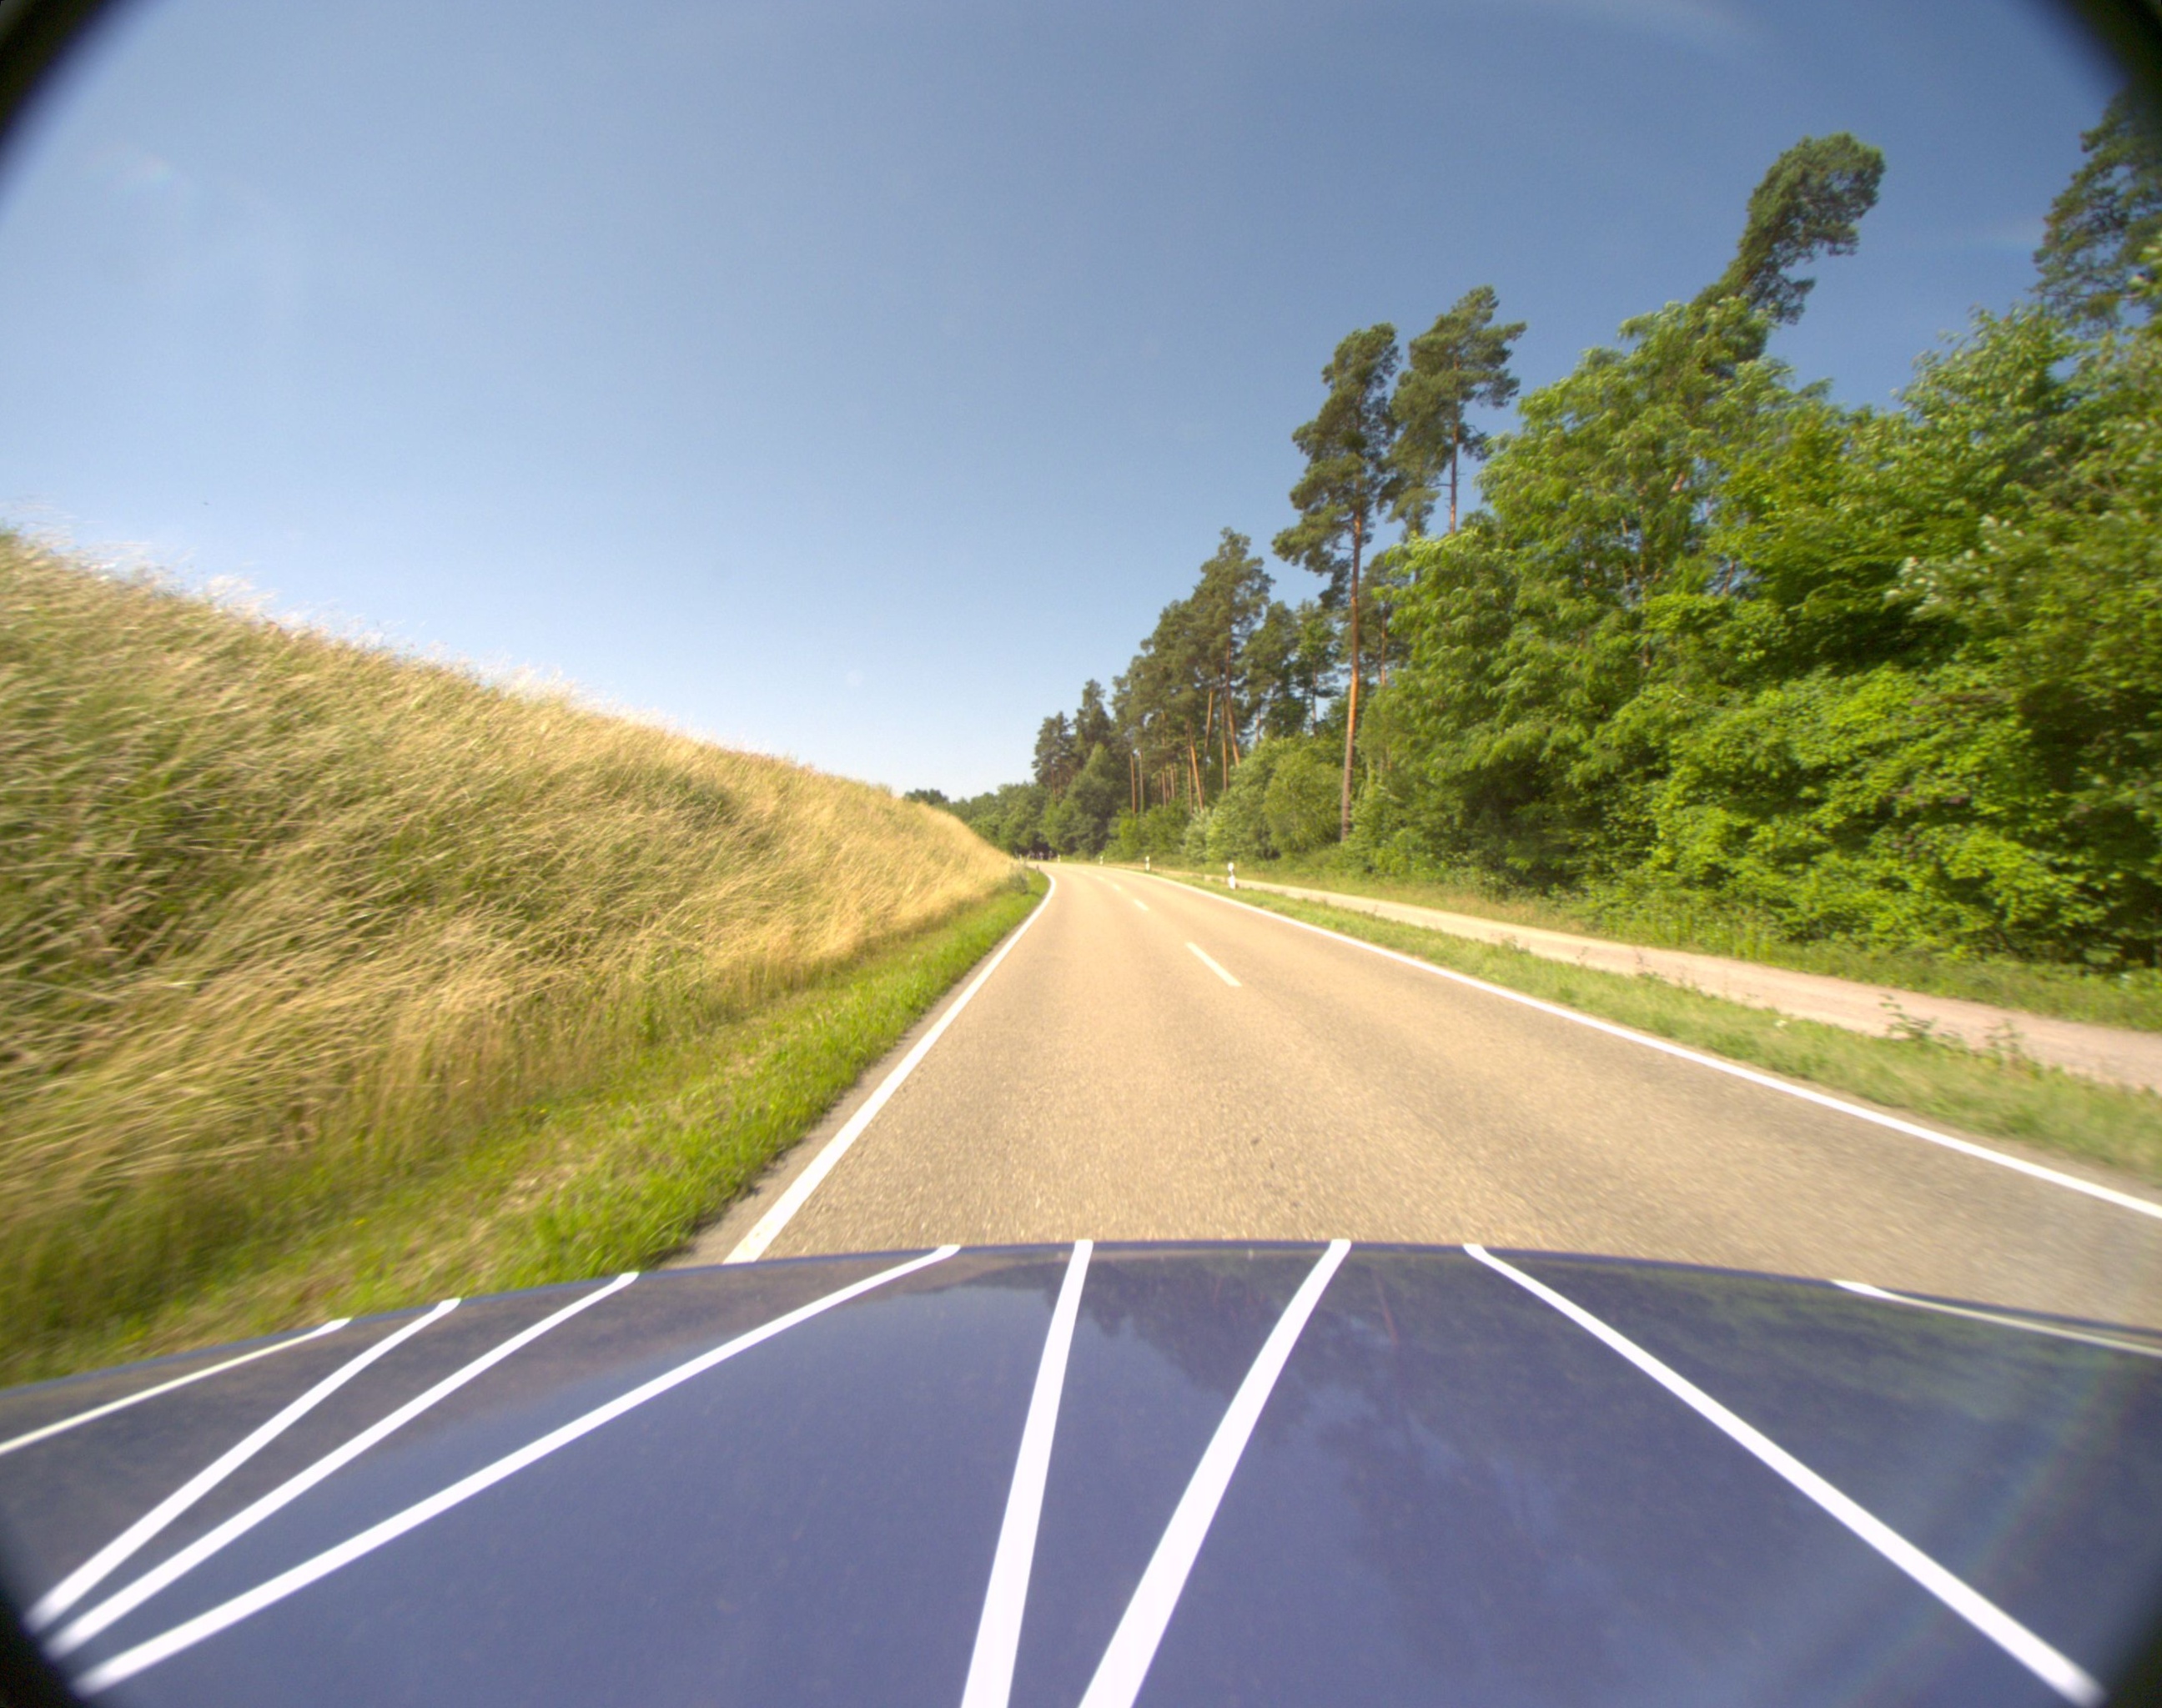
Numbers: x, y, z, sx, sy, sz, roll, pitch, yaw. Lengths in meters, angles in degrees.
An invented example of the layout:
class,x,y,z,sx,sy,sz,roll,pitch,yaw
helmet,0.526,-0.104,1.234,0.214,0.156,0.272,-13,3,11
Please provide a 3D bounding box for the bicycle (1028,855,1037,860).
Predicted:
class,x,y,z,sx,sy,sz,roll,pitch,yaw
bicycle,-8.958,0.657,139.276,0.605,0.824,1.987,-11,-1,26

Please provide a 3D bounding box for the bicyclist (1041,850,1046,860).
class,x,y,z,sx,sy,sz,roll,pitch,yaw
bicyclist,-6.634,0.185,134.748,0.604,1.709,0.790,-1,3,30
